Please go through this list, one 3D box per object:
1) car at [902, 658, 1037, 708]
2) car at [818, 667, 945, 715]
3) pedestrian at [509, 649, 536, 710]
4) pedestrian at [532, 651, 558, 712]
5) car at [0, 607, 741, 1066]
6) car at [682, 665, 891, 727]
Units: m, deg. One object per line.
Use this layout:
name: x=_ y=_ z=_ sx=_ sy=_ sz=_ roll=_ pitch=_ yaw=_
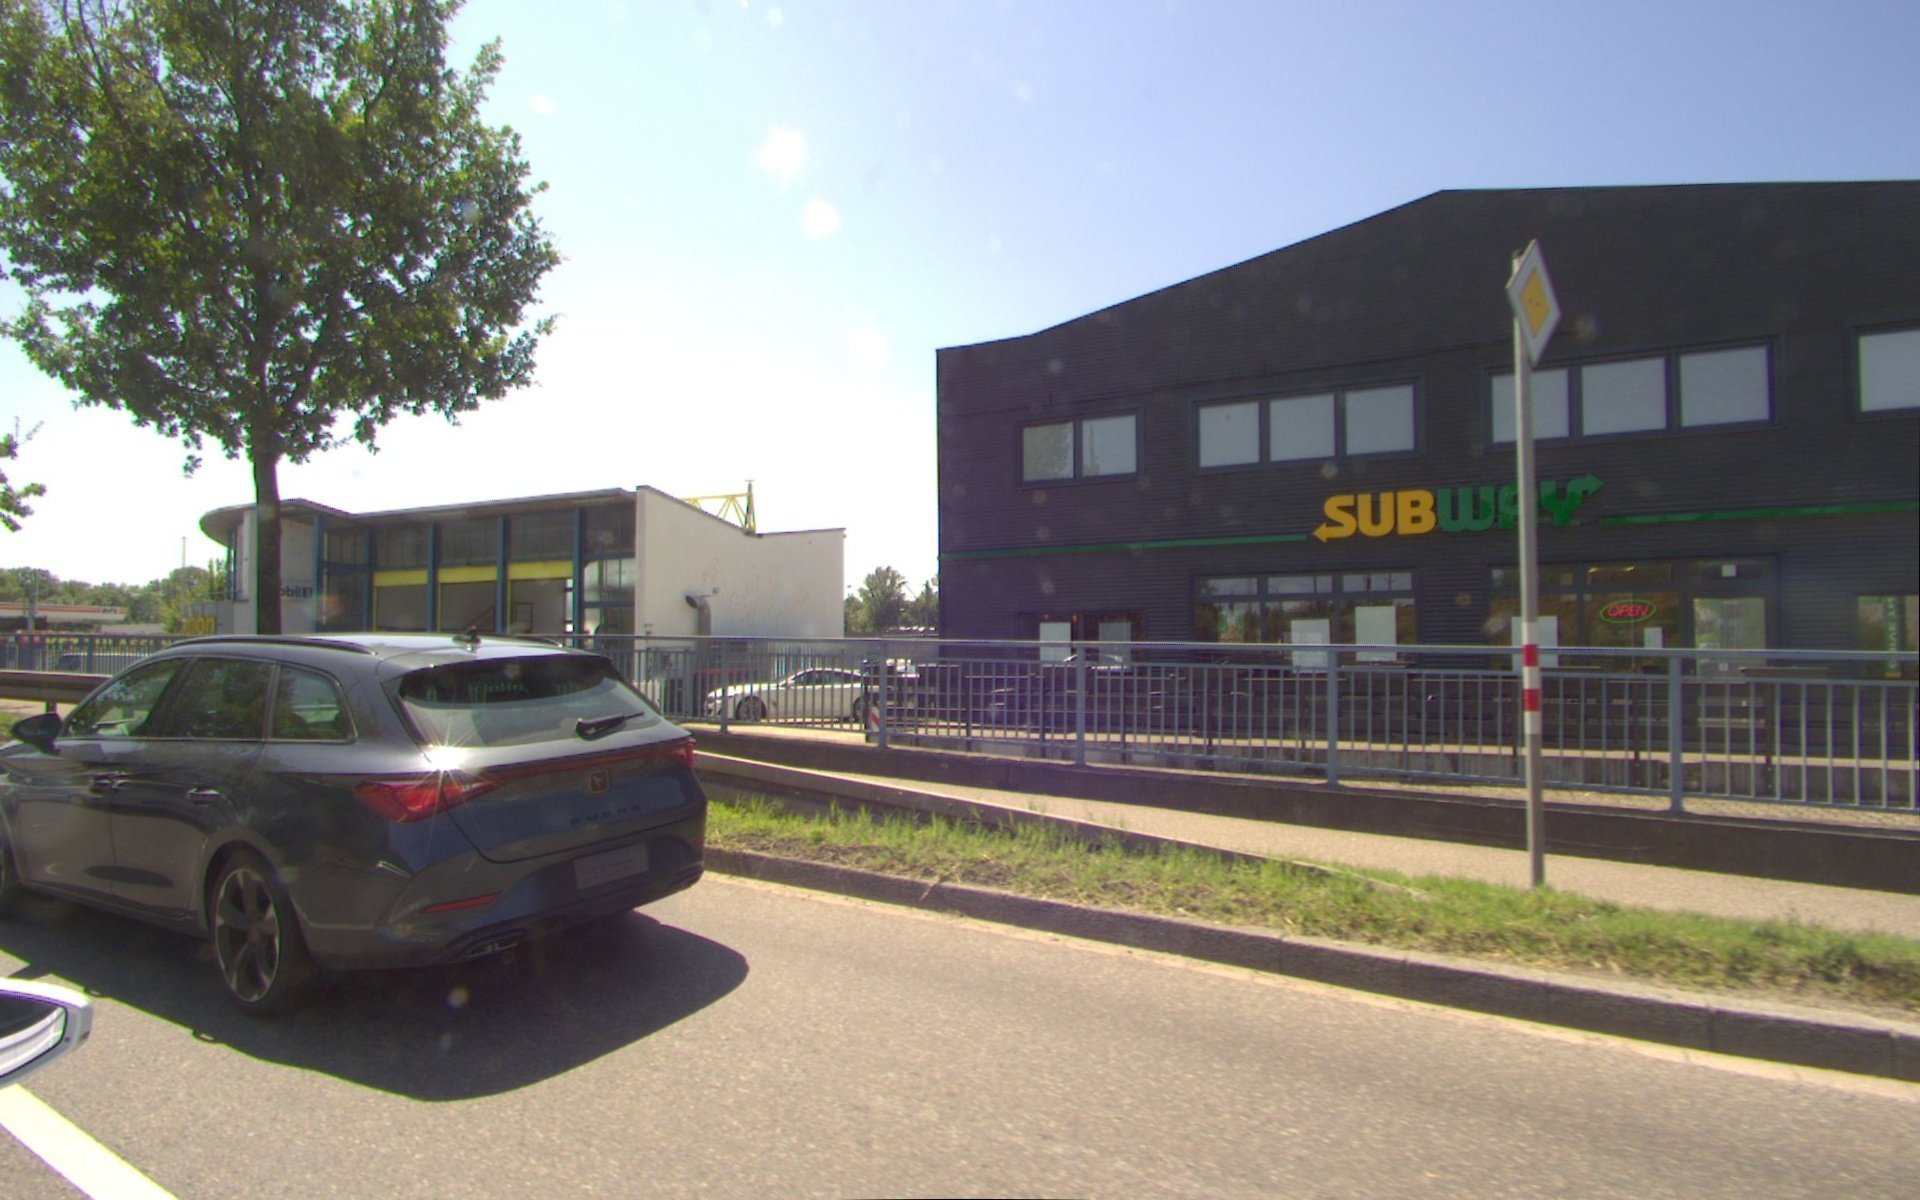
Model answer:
car: x=0.339 y=2.794 z=34.220 sx=4.331 sy=1.578 sz=1.650 roll=1 pitch=-2 yaw=-25
car: x=-2.348 y=2.685 z=29.841 sx=3.550 sy=1.269 sz=1.477 roll=1 pitch=-2 yaw=-17
pedestrian: x=-12.660 y=2.292 z=28.966 sx=0.480 sy=1.724 sz=0.521 roll=-1 pitch=-1 yaw=27
pedestrian: x=-11.848 y=2.324 z=28.595 sx=0.580 sy=1.724 sz=0.426 roll=-1 pitch=-1 yaw=26
car: x=-3.209 y=0.830 z=4.976 sx=4.172 sy=1.474 sz=1.603 roll=-1 pitch=-2 yaw=30
car: x=-4.462 y=2.415 z=25.854 sx=5.003 sy=1.375 sz=1.993 roll=1 pitch=-2 yaw=-25
